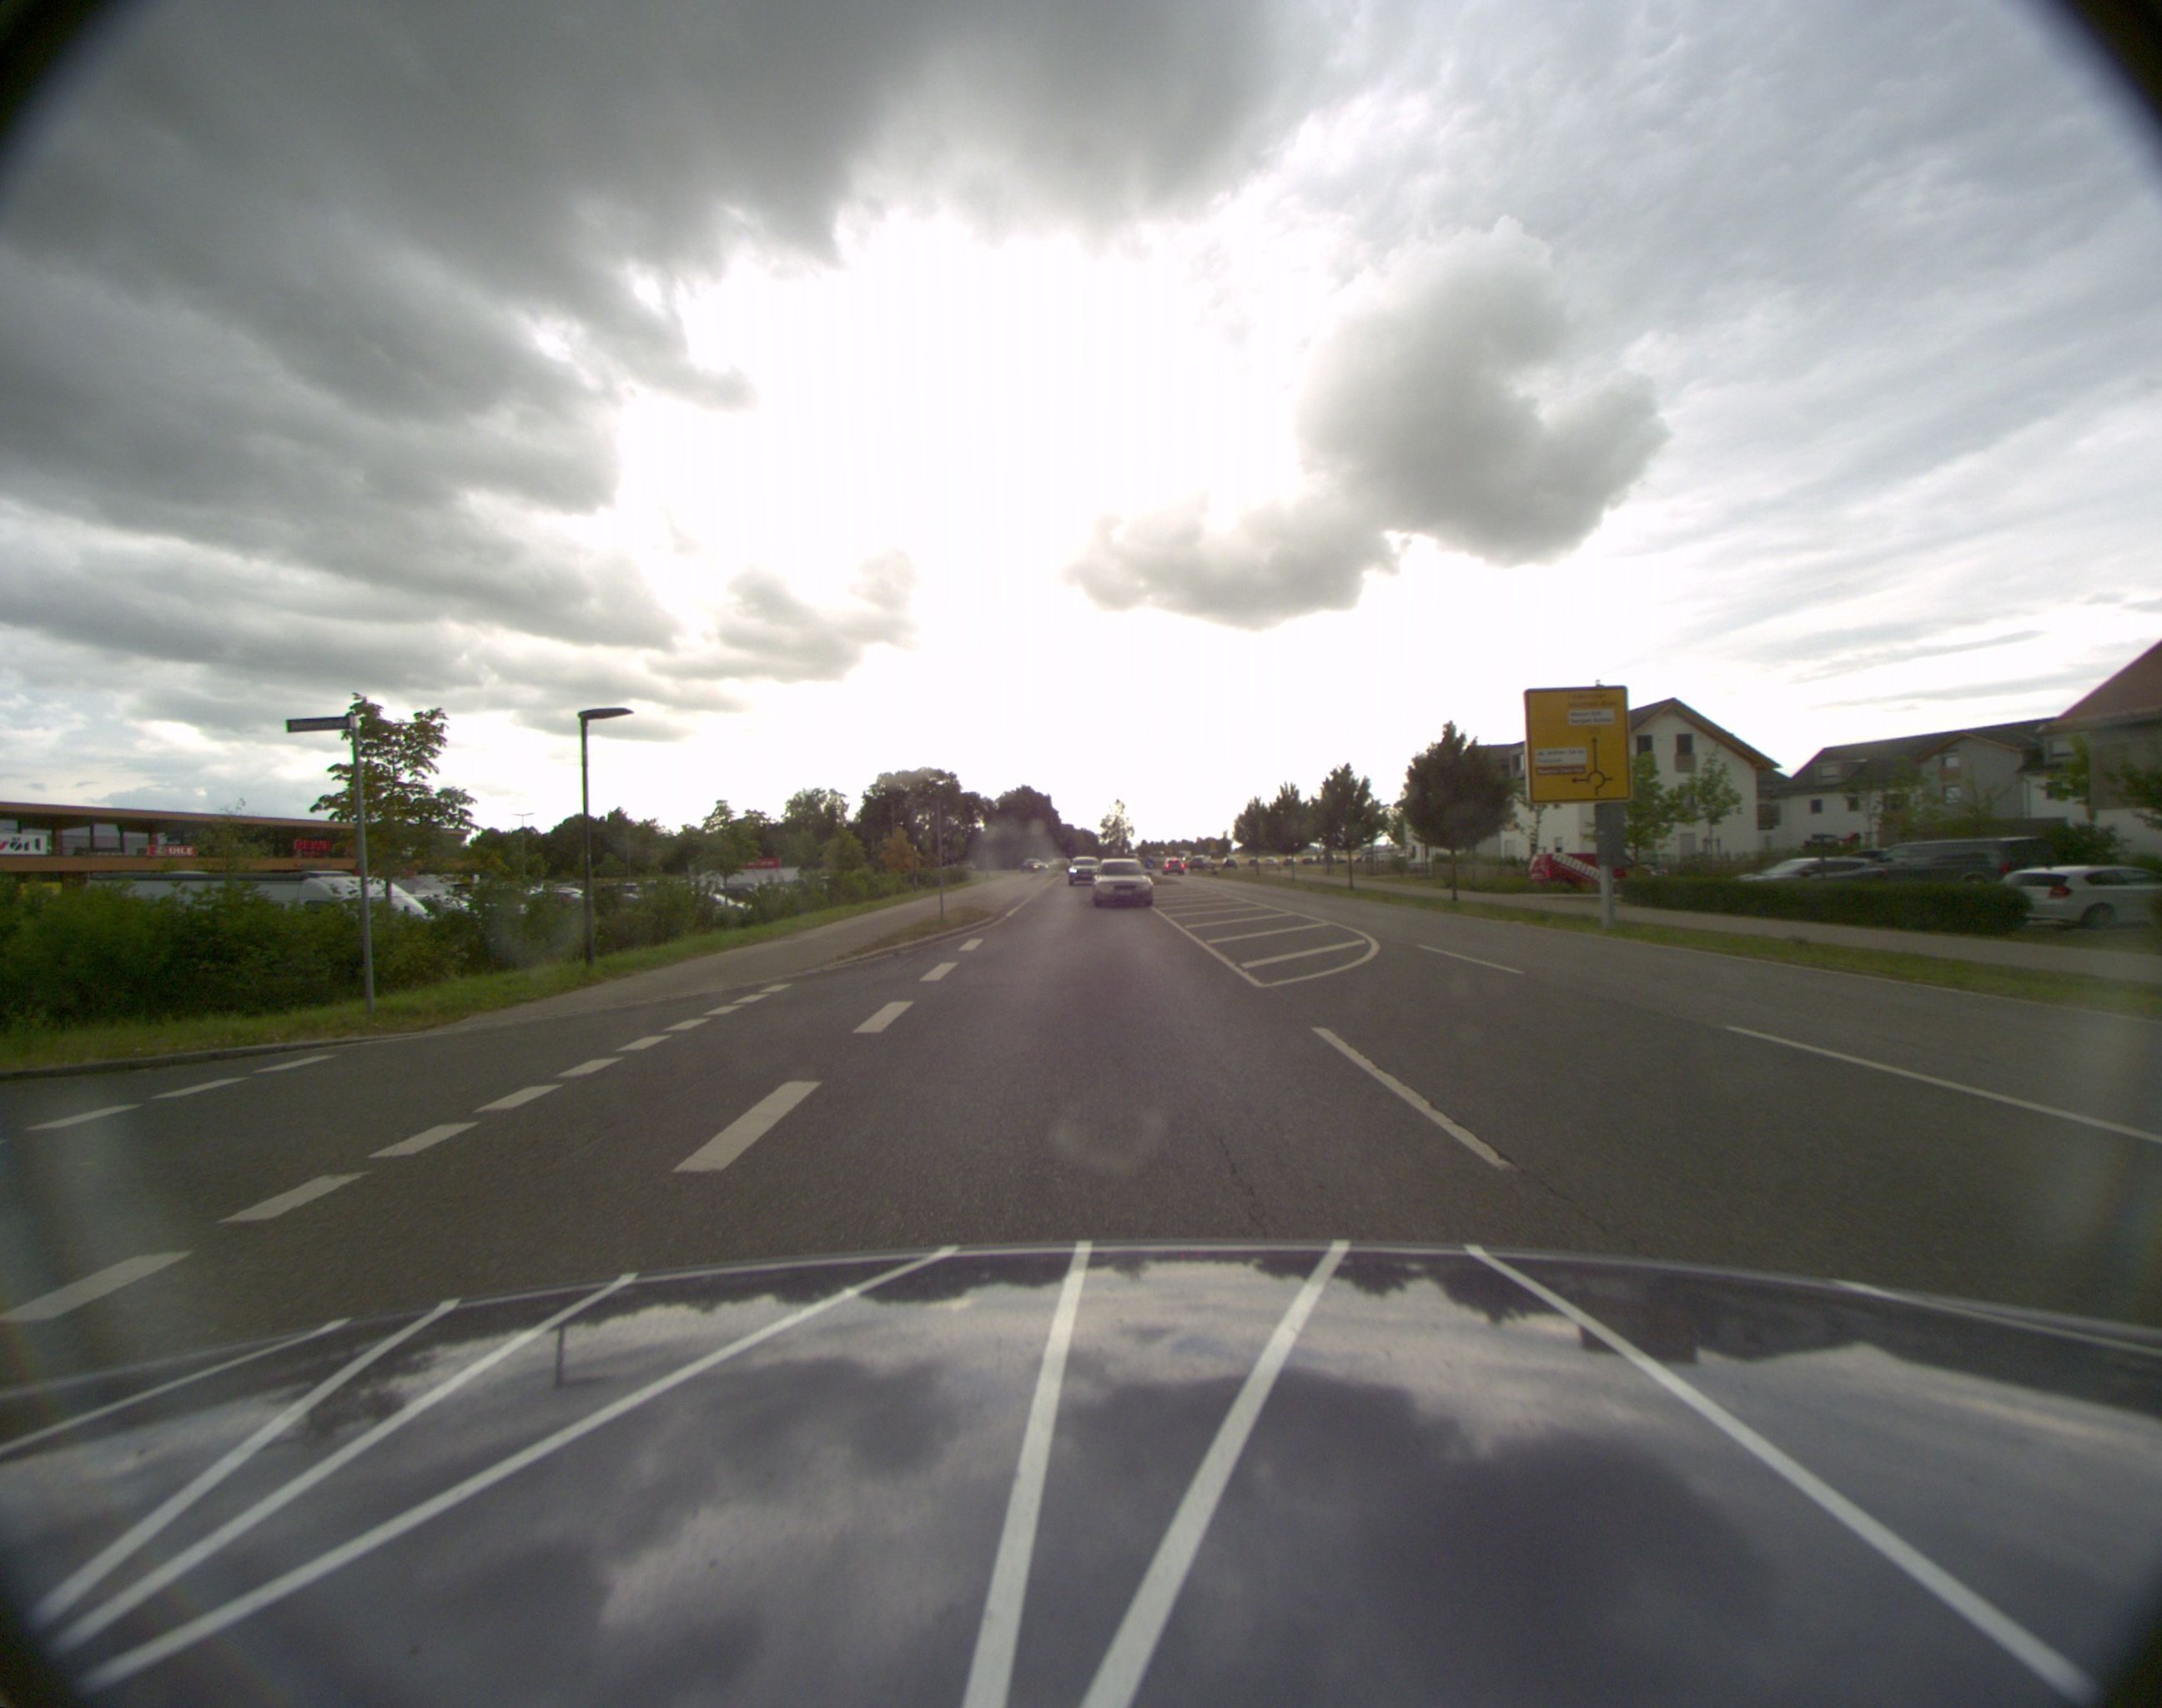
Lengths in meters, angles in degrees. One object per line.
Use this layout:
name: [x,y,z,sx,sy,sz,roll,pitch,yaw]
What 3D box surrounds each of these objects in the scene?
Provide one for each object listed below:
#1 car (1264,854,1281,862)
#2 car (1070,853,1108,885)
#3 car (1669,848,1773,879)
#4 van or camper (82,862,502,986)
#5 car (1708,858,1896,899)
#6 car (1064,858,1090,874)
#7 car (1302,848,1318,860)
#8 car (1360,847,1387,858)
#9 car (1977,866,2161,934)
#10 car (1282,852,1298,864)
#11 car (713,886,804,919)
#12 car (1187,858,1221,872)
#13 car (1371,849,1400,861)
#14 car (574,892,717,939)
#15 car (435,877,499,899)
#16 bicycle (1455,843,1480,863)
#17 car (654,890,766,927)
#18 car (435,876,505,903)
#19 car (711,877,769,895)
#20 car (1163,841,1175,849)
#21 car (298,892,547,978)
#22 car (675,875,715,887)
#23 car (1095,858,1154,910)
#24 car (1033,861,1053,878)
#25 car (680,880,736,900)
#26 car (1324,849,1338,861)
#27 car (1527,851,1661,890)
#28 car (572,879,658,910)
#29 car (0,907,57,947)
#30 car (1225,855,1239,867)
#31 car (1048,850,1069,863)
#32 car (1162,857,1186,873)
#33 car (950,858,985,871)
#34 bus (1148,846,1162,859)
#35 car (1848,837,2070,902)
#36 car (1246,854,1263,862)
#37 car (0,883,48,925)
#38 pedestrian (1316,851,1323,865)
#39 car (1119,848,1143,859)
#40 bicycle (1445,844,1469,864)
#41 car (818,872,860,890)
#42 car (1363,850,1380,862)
car: [31.732,0.621,125.937,1.995,1.280,4.007,0,0,25]
car: [0.490,0.801,42.209,1.870,1.578,5.063,-2,0,3]
car: [32.893,0.462,39.191,1.998,1.499,4.000,0,0,0]
van or camper: [-16.642,1.397,16.366,6.484,2.449,2.281,0,0,-2]
car: [25.859,0.865,27.382,4.917,1.421,1.906,0,0,1]
car: [-0.420,1.208,77.651,2.001,1.510,3.767,0,0,-12]
car: [37.180,0.039,123.151,1.995,2.002,4.007,0,0,25]
car: [52.734,-0.294,137.043,4.001,2.002,1.998,0,0,-12]
car: [23.530,1.037,17.676,3.523,1.480,1.563,0,0,0]
car: [34.421,0.615,124.980,1.995,2.002,4.007,0,0,25]
car: [-15.870,2.385,37.487,3.766,1.529,1.676,0,0,-2]
car: [14.034,1.282,86.550,1.826,1.573,4.225,1,0,41]
car: [51.898,0.236,129.551,4.000,2.002,1.998,0,0,-8]
car: [-16.273,2.271,28.571,4.157,1.588,2.080,0,0,-2]
car: [-53.741,2.981,66.547,3.995,1.837,2.072,0,0,5]
bicycle: [27.634,-0.048,54.358,0.684,1.420,2.094,0,0,0]
car: [-16.609,2.428,34.153,4.157,1.529,1.676,0,0,-2]
car: [-47.825,2.792,59.544,3.995,2.002,2.001,0,0,5]
car: [-29.417,2.755,65.664,4.127,1.476,2.001,0,0,5]
car: [15.328,-1.579,132.550,1.774,1.435,4.000,0,0,0]
car: [-16.786,2.018,19.571,4.605,2.002,2.000,0,0,-2]
car: [-46.900,3.245,92.357,1.697,1.352,4.008,0,0,28]
car: [1.370,0.885,24.023,1.700,1.457,4.001,-1,0,3]
car: [-4.455,1.779,88.606,2.000,1.827,3.997,0,0,-7]
car: [-29.518,2.827,60.161,3.558,1.524,1.753,0,0,-1]
car: [39.964,0.166,121.611,1.996,2.002,4.005,0,0,15]
car: [24.075,0.765,35.782,4.915,1.805,1.907,0,0,5]
car: [-29.595,2.529,48.320,4.269,1.860,2.001,0,0,5]
car: [-47.764,3.161,33.021,3.747,1.598,2.039,0,0,0]
car: [19.303,0.868,97.146,1.773,1.435,4.004,0,0,11]
car: [-3.361,0.385,112.872,1.996,2.002,4.247,0,0,14]
car: [8.426,0.970,69.026,1.774,1.435,4.000,0,0,0]
car: [-16.005,1.518,106.704,4.774,1.793,1.998,0,0,-12]
bus: [19.667,-0.343,202.270,2.992,3.261,6.483,0,0,-2]
car: [31.205,0.522,27.336,1.998,2.001,5.202,-4,0,3]
car: [29.079,0.629,127.421,1.995,1.280,4.007,0,0,25]
car: [-55.759,2.536,38.639,3.995,2.002,2.001,0,0,5]
pedestrian: [26.972,0.425,86.056,0.547,1.521,0.586,-3,0,0]
car: [8.106,-0.072,123.843,1.994,1.674,4.009,0,0,37]
bicycle: [26.860,-0.012,54.367,0.684,1.409,2.094,0,0,0]
car: [-25.442,2.842,80.139,1.697,1.707,4.251,0,0,28]
car: [46.482,0.328,121.561,1.995,2.002,4.008,0,0,28]
